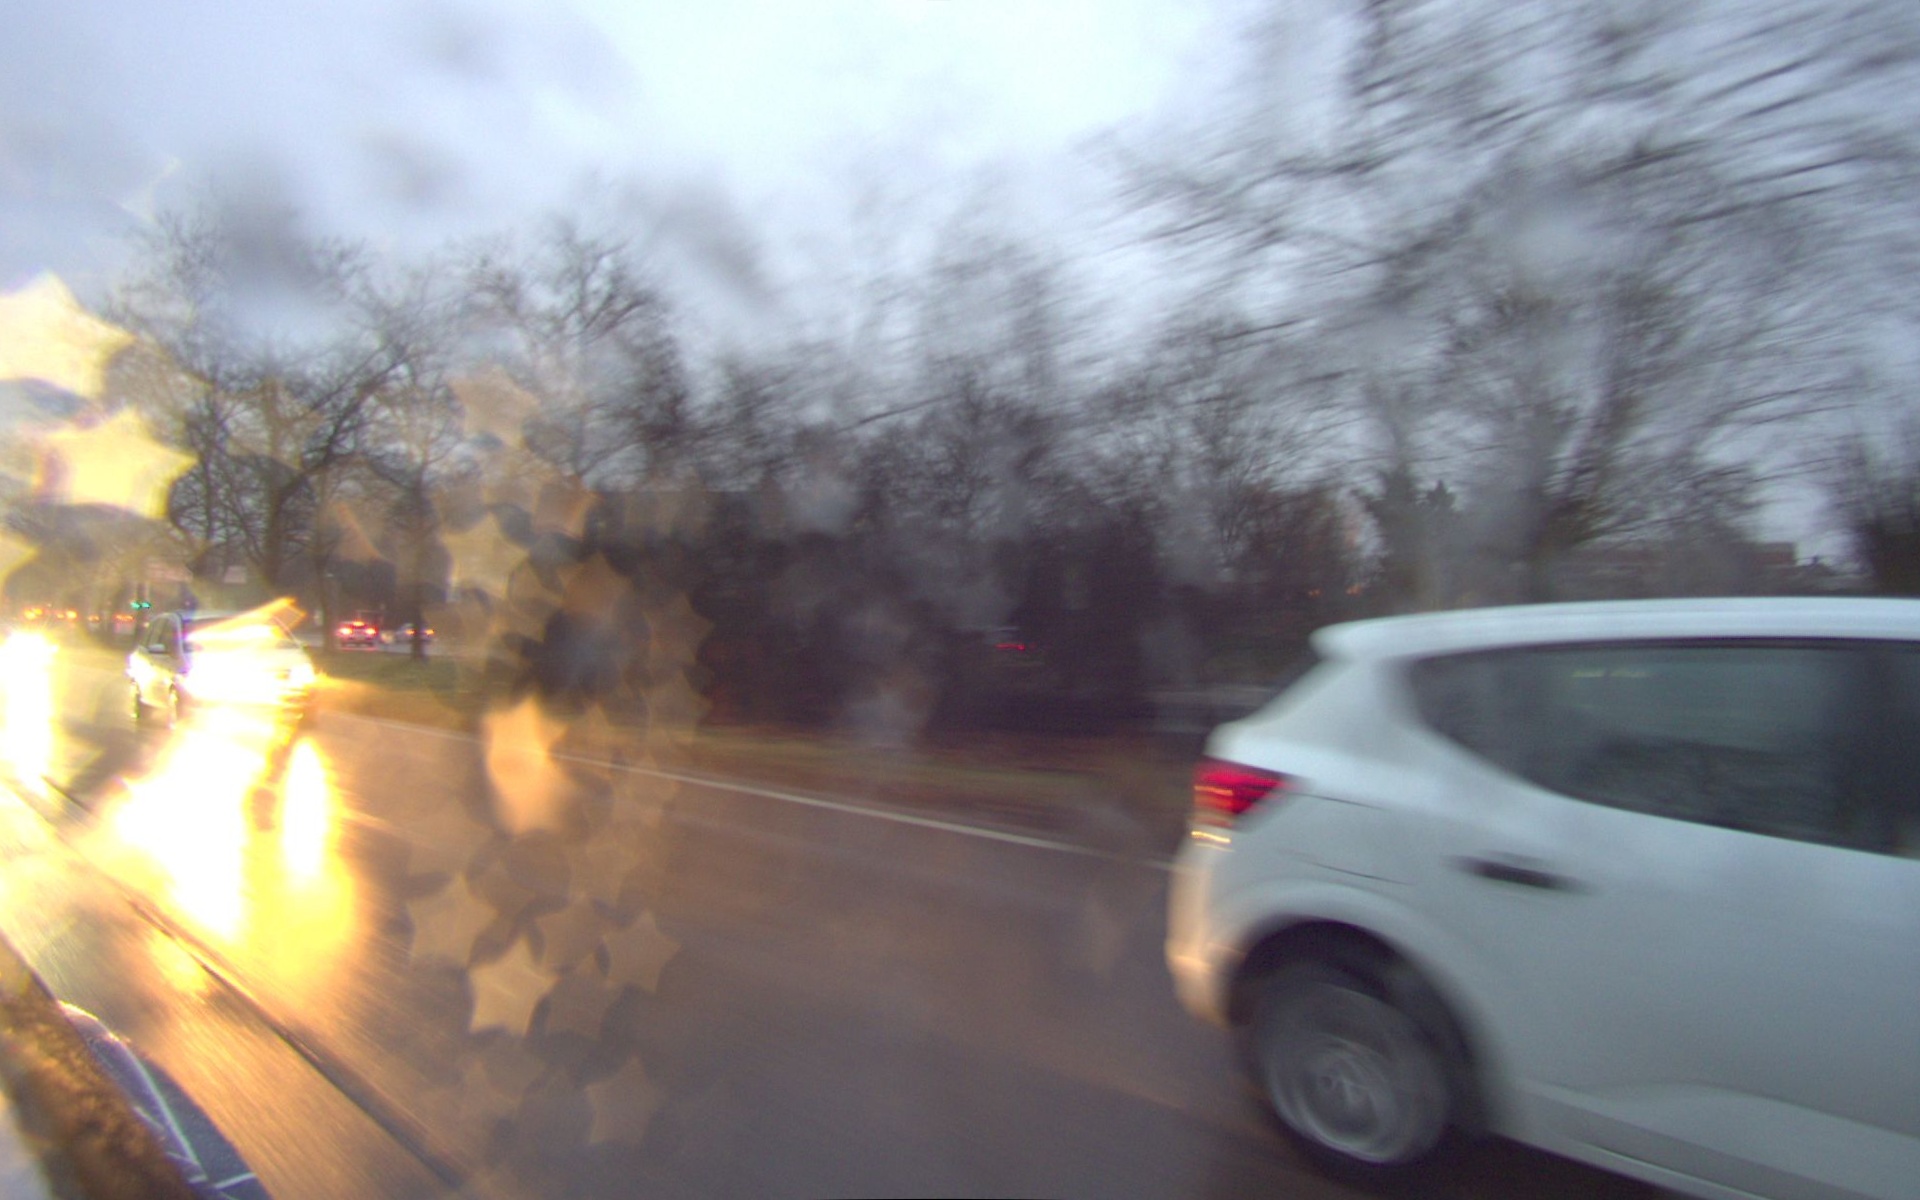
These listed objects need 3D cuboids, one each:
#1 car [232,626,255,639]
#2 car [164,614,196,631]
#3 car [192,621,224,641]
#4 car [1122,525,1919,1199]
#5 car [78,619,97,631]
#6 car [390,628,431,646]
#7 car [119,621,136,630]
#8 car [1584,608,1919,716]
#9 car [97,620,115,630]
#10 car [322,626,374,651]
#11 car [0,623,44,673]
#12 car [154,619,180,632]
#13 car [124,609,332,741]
[{"bbox_3d":[-80.282,3.590,113.384,1.727,1.405,4.306,1,-1,-41],"label":"car"},{"bbox_3d":[-74.825,2.143,97.059,4.379,1.545,1.764,-1,-1,44],"label":"car"},{"bbox_3d":[-65.118,2.676,87.638,3.982,1.694,1.599,-1,-2,44],"label":"car"},{"bbox_3d":[2.586,0.600,2.127,4.226,1.451,1.705,-2,-2,44],"label":"car"},{"bbox_3d":[-116.922,3.291,135.669,4.001,1.514,1.552,0,0,44],"label":"car"},{"bbox_3d":[-41.046,2.743,75.548,1.560,1.312,4.106,1,-1,-45],"label":"car"},{"bbox_3d":[-124.082,3.826,150.854,4.001,1.321,1.520,-1,-1,44],"label":"car"},{"bbox_3d":[13.156,0.934,16.728,4.598,1.577,1.630,-1,-1,44],"label":"car"},{"bbox_3d":[-117.477,3.438,139.203,3.957,1.338,1.520,-1,-1,44],"label":"car"},{"bbox_3d":[-36.829,2.288,60.861,3.979,1.436,1.729,-1,-1,44],"label":"car"},{"bbox_3d":[-31.872,1.540,33.429,4.145,1.542,1.999,-1,-1,43],"label":"car"},{"bbox_3d":[-84.770,2.718,108.119,3.957,1.364,1.630,-1,-1,44],"label":"car"},{"bbox_3d":[-10.557,0.943,14.475,4.167,1.611,1.741,-1,-1,45],"label":"car"}]
